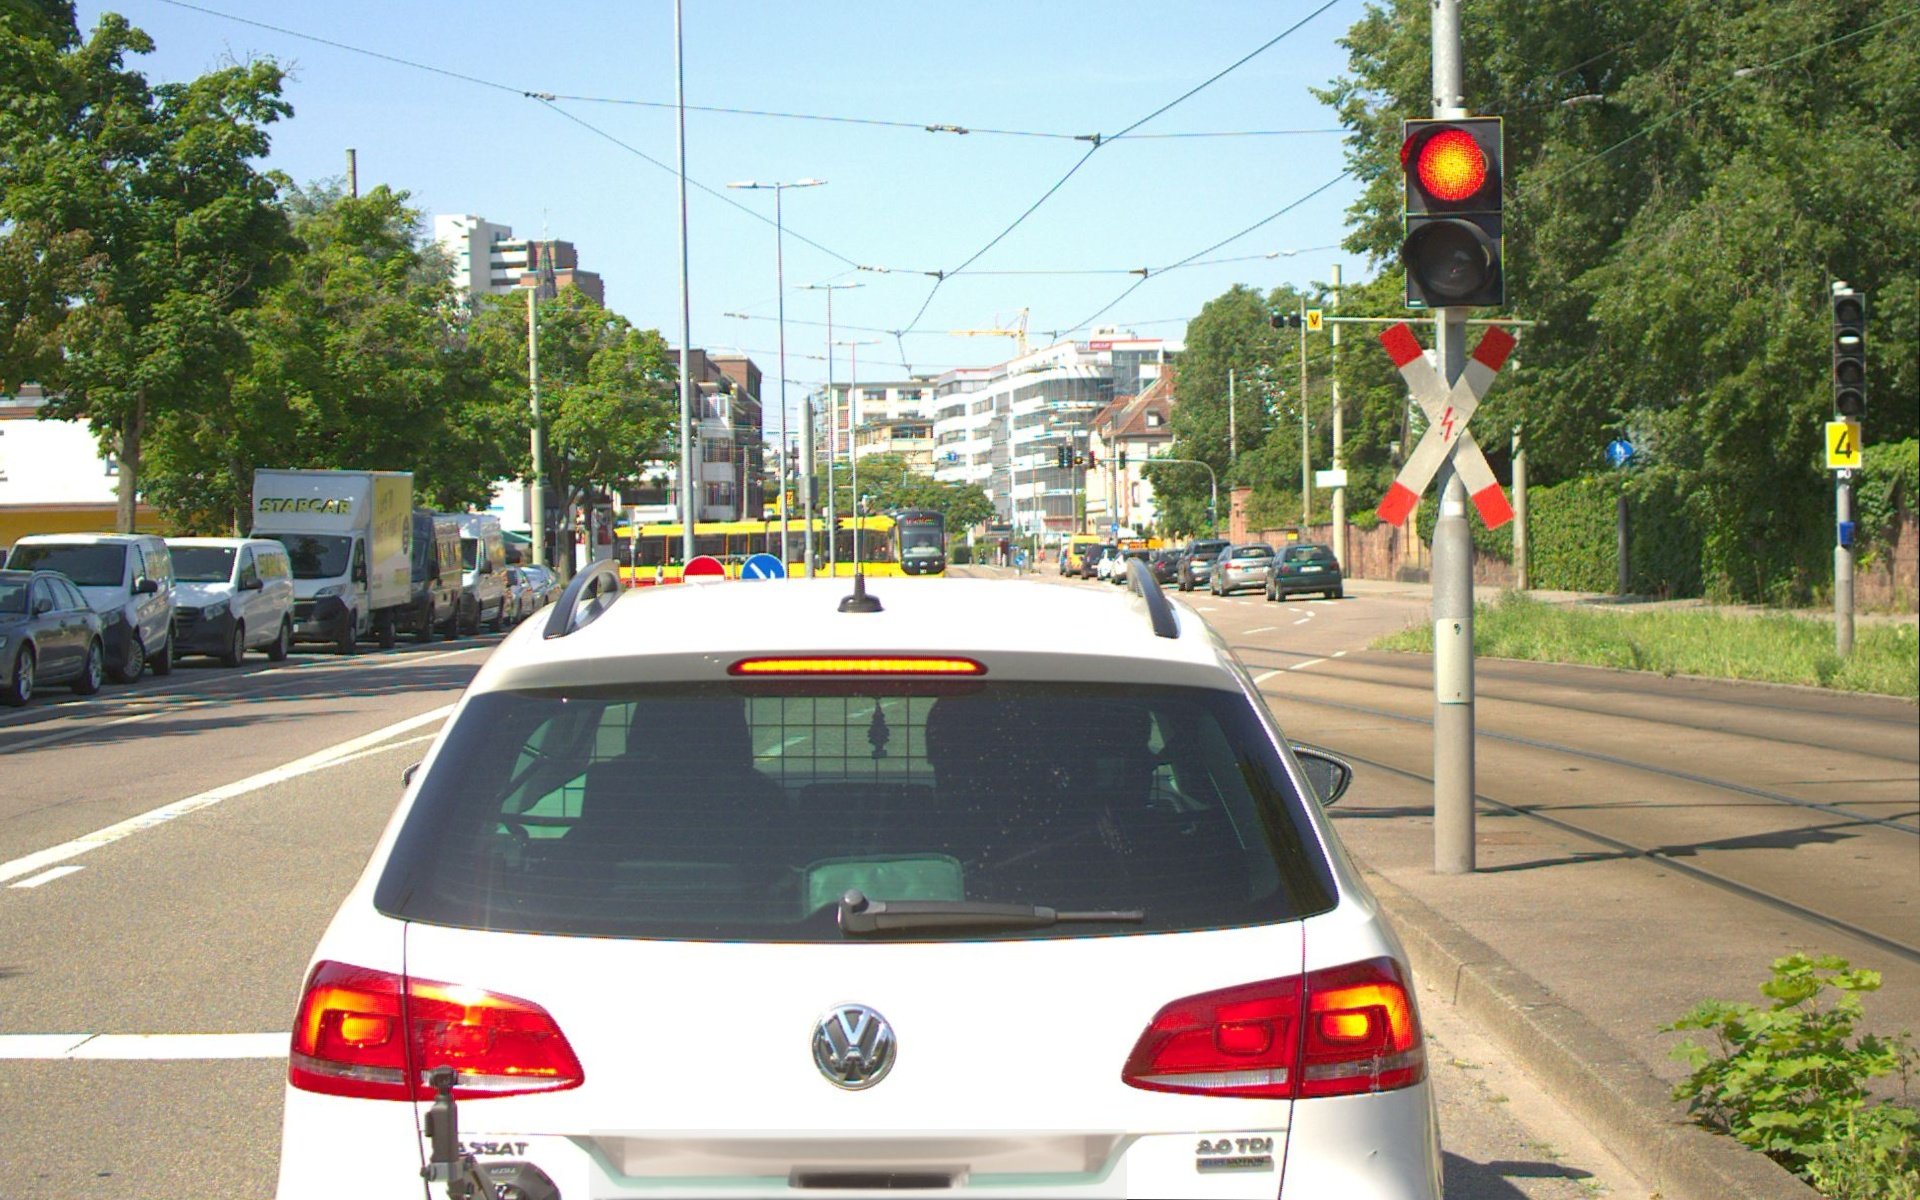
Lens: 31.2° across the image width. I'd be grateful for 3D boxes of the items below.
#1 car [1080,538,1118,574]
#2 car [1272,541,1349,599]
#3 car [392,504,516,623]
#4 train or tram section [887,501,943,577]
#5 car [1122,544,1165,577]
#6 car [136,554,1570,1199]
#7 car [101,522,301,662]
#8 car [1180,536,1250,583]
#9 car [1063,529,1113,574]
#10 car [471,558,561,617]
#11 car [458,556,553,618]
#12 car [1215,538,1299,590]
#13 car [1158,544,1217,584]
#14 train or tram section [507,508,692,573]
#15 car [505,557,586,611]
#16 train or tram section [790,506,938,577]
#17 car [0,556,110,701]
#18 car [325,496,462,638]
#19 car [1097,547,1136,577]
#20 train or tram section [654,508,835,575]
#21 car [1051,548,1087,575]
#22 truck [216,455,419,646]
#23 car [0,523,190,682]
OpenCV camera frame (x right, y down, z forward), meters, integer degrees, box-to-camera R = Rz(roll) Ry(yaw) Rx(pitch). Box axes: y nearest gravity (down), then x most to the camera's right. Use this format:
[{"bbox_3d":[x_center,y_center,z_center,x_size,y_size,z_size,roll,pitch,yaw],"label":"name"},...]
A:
[{"bbox_3d":[7.079,-2.221,175.273,1.691,1.806,3.454,1,0,-1],"label":"car"},{"bbox_3d":[8.728,-0.760,85.784,1.746,1.383,3.913,1,1,3],"label":"car"},{"bbox_3d":[-11.126,-0.834,75.950,1.843,2.486,5.857,-1,1,0],"label":"car"},{"bbox_3d":[-2.067,-2.679,154.076,2.301,3.241,11.275,1,0,-2],"label":"train or tram section"},{"bbox_3d":[7.807,-1.686,146.777,1.581,1.341,3.454,1,0,-1],"label":"car"},{"bbox_3d":[-0.186,0.665,6.229,1.768,1.441,3.913,1,1,-1],"label":"car"},{"bbox_3d":[-11.368,-0.163,51.834,1.843,1.954,5.134,-1,1,0],"label":"car"},{"bbox_3d":[8.390,-1.355,113.583,1.861,1.508,3.913,1,1,-2],"label":"car"},{"bbox_3d":[7.277,-2.736,195.689,2.463,2.490,5.910,1,0,-1],"label":"car"},{"bbox_3d":[-11.690,-0.347,90.708,1.843,1.428,4.038,-1,1,-1],"label":"car"},{"bbox_3d":[-11.262,-0.332,85.452,1.843,1.428,4.038,-1,1,-1],"label":"car"},{"bbox_3d":[8.540,-1.056,99.147,1.861,1.412,4.325,1,1,-2],"label":"car"},{"bbox_3d":[8.403,-1.351,127.404,1.745,1.403,3.913,1,1,-2],"label":"car"},{"bbox_3d":[-18.816,-3.104,178.835,10.795,3.241,2.304,1,0,36],"label":"train or tram section"},{"bbox_3d":[-11.624,-0.471,96.594,1.780,1.428,4.038,-1,1,-1],"label":"car"},{"bbox_3d":[-4.666,-2.779,163.646,2.301,3.241,10.809,1,0,-29],"label":"train or tram section"},{"bbox_3d":[-11.010,0.296,38.708,1.843,1.511,4.197,-1,1,-1],"label":"car"},{"bbox_3d":[-11.182,-0.677,68.188,1.843,2.659,5.003,-1,1,0],"label":"car"},{"bbox_3d":[7.383,-1.785,162.261,1.581,1.341,3.454,1,0,-1],"label":"car"},{"bbox_3d":[-10.846,-2.930,171.878,2.302,3.241,11.012,1,0,-45],"label":"train or tram section"},{"bbox_3d":[6.651,-2.340,210.126,1.993,1.590,4.000,1,0,0],"label":"car"},{"bbox_3d":[-11.174,-0.884,60.321,2.356,3.112,6.892,-1,1,-1],"label":"truck"},{"bbox_3d":[-11.500,-0.010,45.379,1.843,1.930,5.195,-1,1,-4],"label":"car"}]
